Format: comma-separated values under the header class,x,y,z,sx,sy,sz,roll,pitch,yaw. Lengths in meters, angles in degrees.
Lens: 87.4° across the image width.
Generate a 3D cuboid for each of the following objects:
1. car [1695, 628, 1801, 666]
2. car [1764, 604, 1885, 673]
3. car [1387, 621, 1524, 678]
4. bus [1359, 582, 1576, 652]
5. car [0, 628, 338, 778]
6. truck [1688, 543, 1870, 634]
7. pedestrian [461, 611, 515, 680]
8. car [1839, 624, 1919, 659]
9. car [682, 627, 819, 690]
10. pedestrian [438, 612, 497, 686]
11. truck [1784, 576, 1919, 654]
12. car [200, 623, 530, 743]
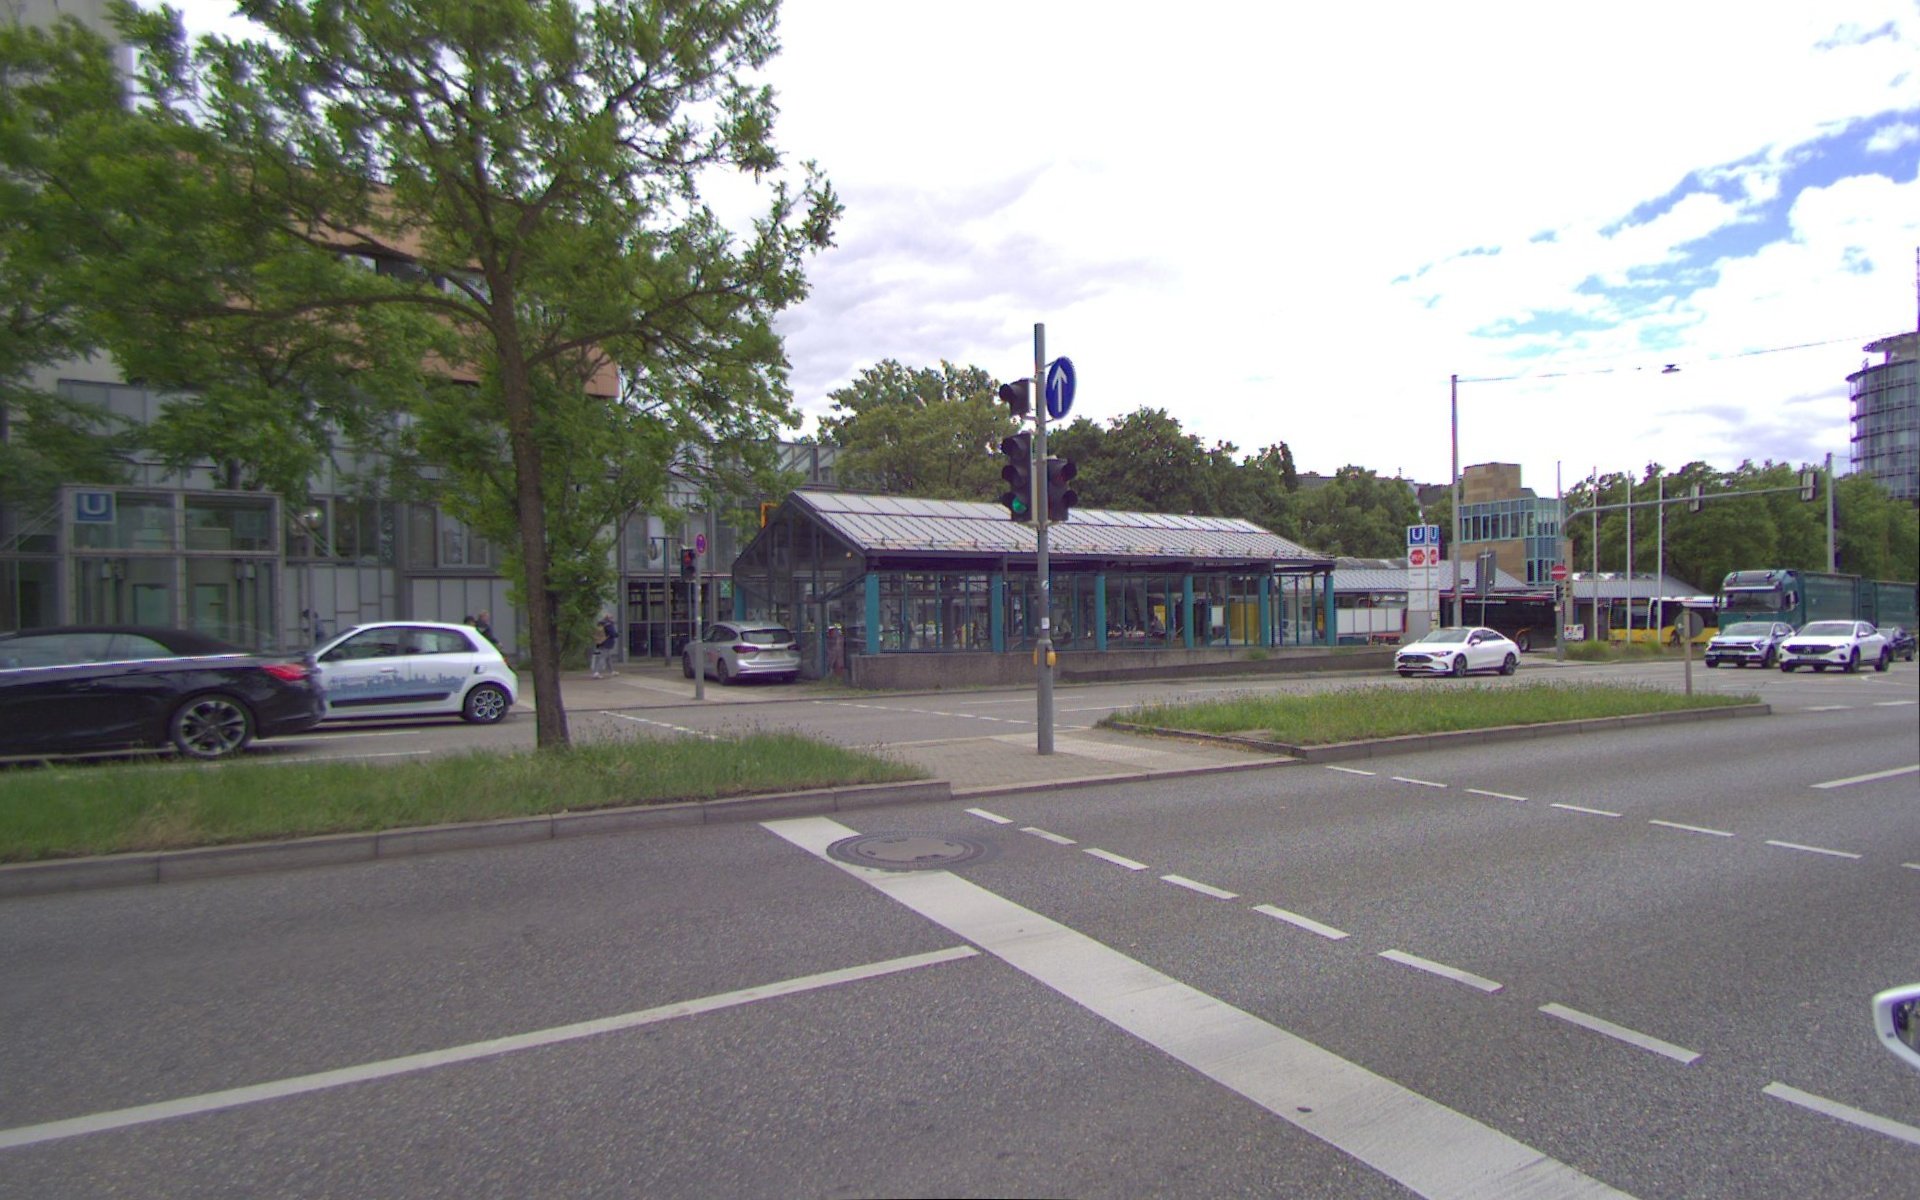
class,x,y,z,sx,sy,sz,roll,pitch,yaw
car,27.988,1.619,35.647,3.958,1.279,1.819,1,-2,-34
car,27.358,1.200,31.750,4.138,2.040,1.980,1,-2,-36
car,14.893,1.448,30.123,4.460,1.595,1.722,1,-2,-34
bus,25.214,0.883,49.598,11.999,3.175,2.947,1,-1,-26
car,-9.379,1.015,10.365,4.960,1.416,1.802,1,-3,-35
truck,37.839,-0.365,46.235,11.161,3.777,3.348,1,-1,-34
pedestrian,-10.341,0.981,22.003,0.592,1.477,0.869,1,0,26
car,39.849,1.778,43.441,3.957,1.436,1.787,1,-2,-33
car,-5.158,1.349,24.337,1.979,1.372,3.964,1,-2,-33
pedestrian,-10.139,1.000,20.700,0.593,1.477,0.868,1,-2,34
truck,46.416,0.841,52.095,7.939,3.776,3.350,1,-2,-33
car,-8.580,1.131,14.729,3.958,1.537,1.737,1,-3,-34
